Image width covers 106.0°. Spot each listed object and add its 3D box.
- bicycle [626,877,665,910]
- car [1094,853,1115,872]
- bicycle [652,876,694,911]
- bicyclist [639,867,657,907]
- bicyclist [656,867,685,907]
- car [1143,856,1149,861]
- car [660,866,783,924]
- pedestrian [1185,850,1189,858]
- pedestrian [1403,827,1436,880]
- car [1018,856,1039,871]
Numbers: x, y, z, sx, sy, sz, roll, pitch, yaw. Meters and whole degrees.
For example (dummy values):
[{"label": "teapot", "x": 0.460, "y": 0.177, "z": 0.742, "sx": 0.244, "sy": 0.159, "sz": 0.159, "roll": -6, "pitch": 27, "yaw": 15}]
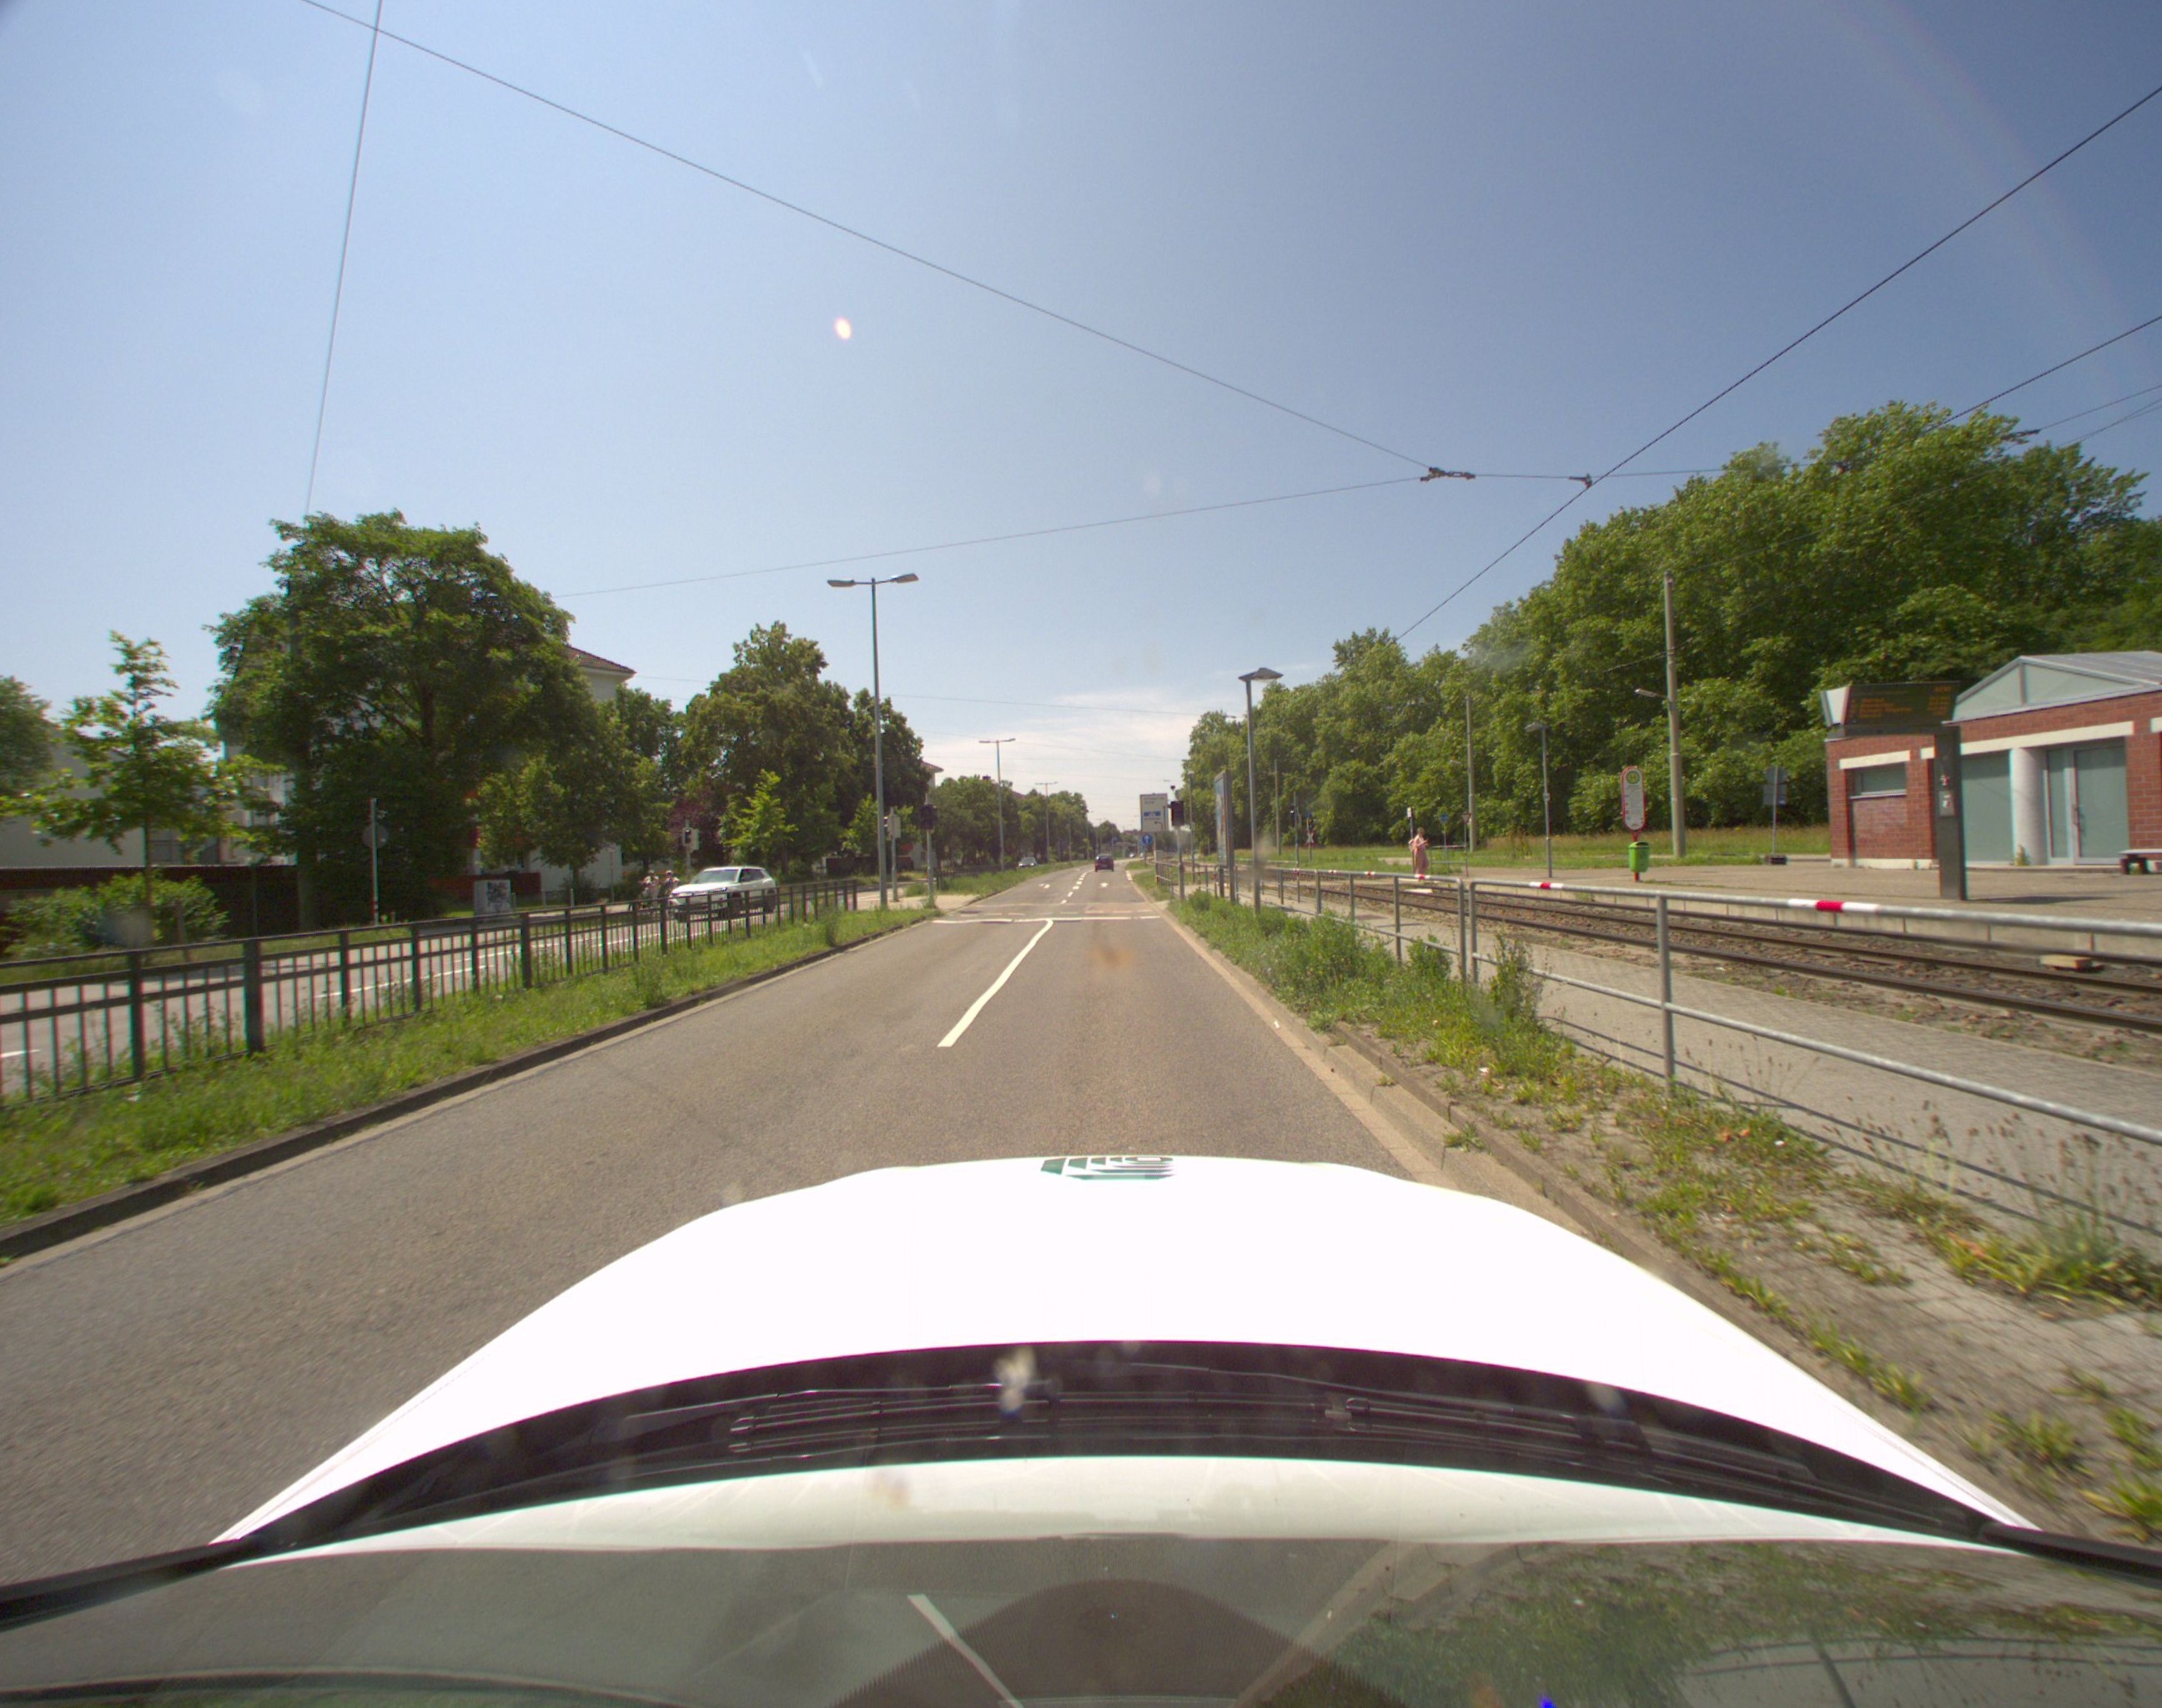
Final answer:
[{"label": "bicycle", "x": -15.253, "y": 1.374, "z": 28.561, "sx": 0.551, "sy": 1.094, "sz": 1.381, "roll": -1, "pitch": -1, "yaw": 3}, {"label": "car", "x": 2.018, "y": 0.739, "z": 69.619, "sx": 1.696, "sy": 1.477, "sz": 3.719, "roll": -3, "pitch": -1, "yaw": 2}, {"label": "bicycle", "x": -14.374, "y": 1.375, "z": 28.745, "sx": 0.586, "sy": 1.133, "sz": 1.616, "roll": -3, "pitch": 0, "yaw": 2}, {"label": "bicyclist", "x": -15.249, "y": 1.163, "z": 28.661, "sx": 0.356, "sy": 1.392, "sz": 0.441, "roll": -1, "pitch": 0, "yaw": 4}, {"label": "bicyclist", "x": -14.400, "y": 1.150, "z": 28.591, "sx": 0.543, "sy": 1.345, "sz": 0.755, "roll": -3, "pitch": 0, "yaw": 1}, {"label": "car", "x": 19.515, "y": 1.263, "z": 245.442, "sx": 1.695, "sy": 1.481, "sz": 3.720, "roll": 0, "pitch": -1, "yaw": 4}, {"label": "car", "x": -11.411, "y": 1.244, "z": 26.205, "sx": 1.814, "sy": 1.572, "sz": 4.349, "roll": -3, "pitch": 0, "yaw": 2}, {"label": "pedestrian", "x": 22.716, "y": 0.058, "z": 174.195, "sx": 0.658, "sy": 1.726, "sz": 0.818, "roll": -3, "pitch": 0, "yaw": 8}, {"label": "pedestrian", "x": 11.287, "y": -0.016, "z": 27.164, "sx": 0.635, "sy": 1.759, "sz": 0.813, "roll": -1, "pitch": -1, "yaw": -12}, {"label": "car", "x": -5.787, "y": 1.044, "z": 90.057, "sx": 1.749, "sy": 1.543, "sz": 4.165, "roll": -3, "pitch": 0, "yaw": 3}]
